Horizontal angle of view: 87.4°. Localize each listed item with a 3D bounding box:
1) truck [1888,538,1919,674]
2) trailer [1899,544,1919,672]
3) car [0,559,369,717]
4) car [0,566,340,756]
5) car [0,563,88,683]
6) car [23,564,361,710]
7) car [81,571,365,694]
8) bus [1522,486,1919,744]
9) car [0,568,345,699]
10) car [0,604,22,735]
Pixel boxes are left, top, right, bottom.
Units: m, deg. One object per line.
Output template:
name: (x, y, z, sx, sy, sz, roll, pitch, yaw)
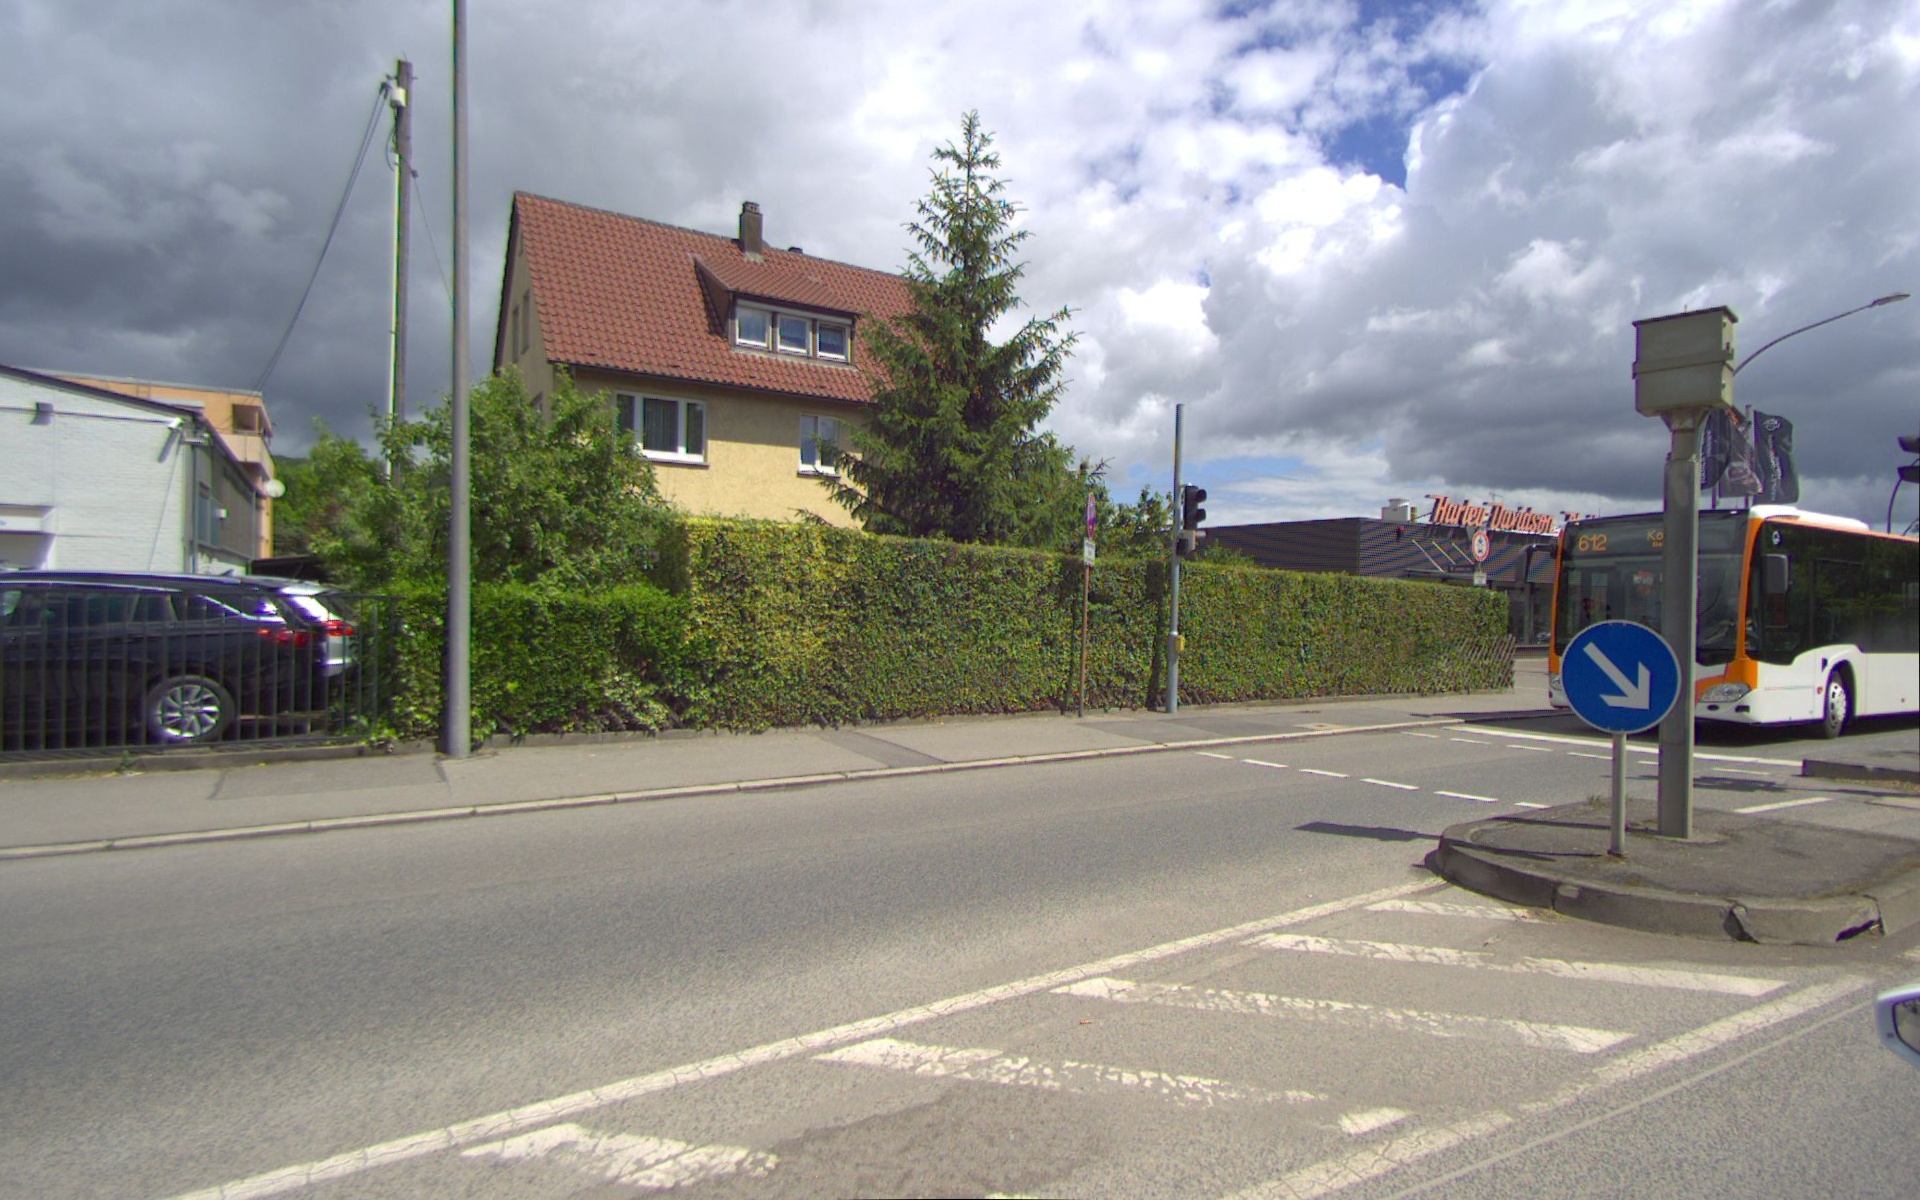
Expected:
truck: (31.786, 0.280, 31.750, 6.448, 4.107, 2.775, 2, 0, -40)
trailer: (37.146, 0.465, 36.331, 15.429, 4.107, 2.775, 2, 0, -40)
car: (-9.017, 0.396, 11.352, 3.953, 1.561, 1.984, 2, 0, -30)
car: (-7.856, 0.478, 8.849, 3.997, 1.502, 1.850, 2, 0, -31)
car: (-17.988, 0.349, 17.416, 3.953, 2.040, 1.984, 2, 0, -30)
car: (-11.828, 0.563, 15.877, 3.953, 2.040, 1.984, 2, 0, -30)
car: (-13.324, 0.590, 18.521, 3.953, 2.040, 1.984, 2, 0, -30)
bus: (13.889, 0.360, 16.185, 12.123, 3.071, 2.706, 2, -1, -31)
car: (-10.725, 0.436, 13.624, 3.953, 1.569, 1.984, 2, 0, -30)
car: (-16.710, 1.043, 14.692, 3.953, 2.040, 1.984, 2, 0, -30)
